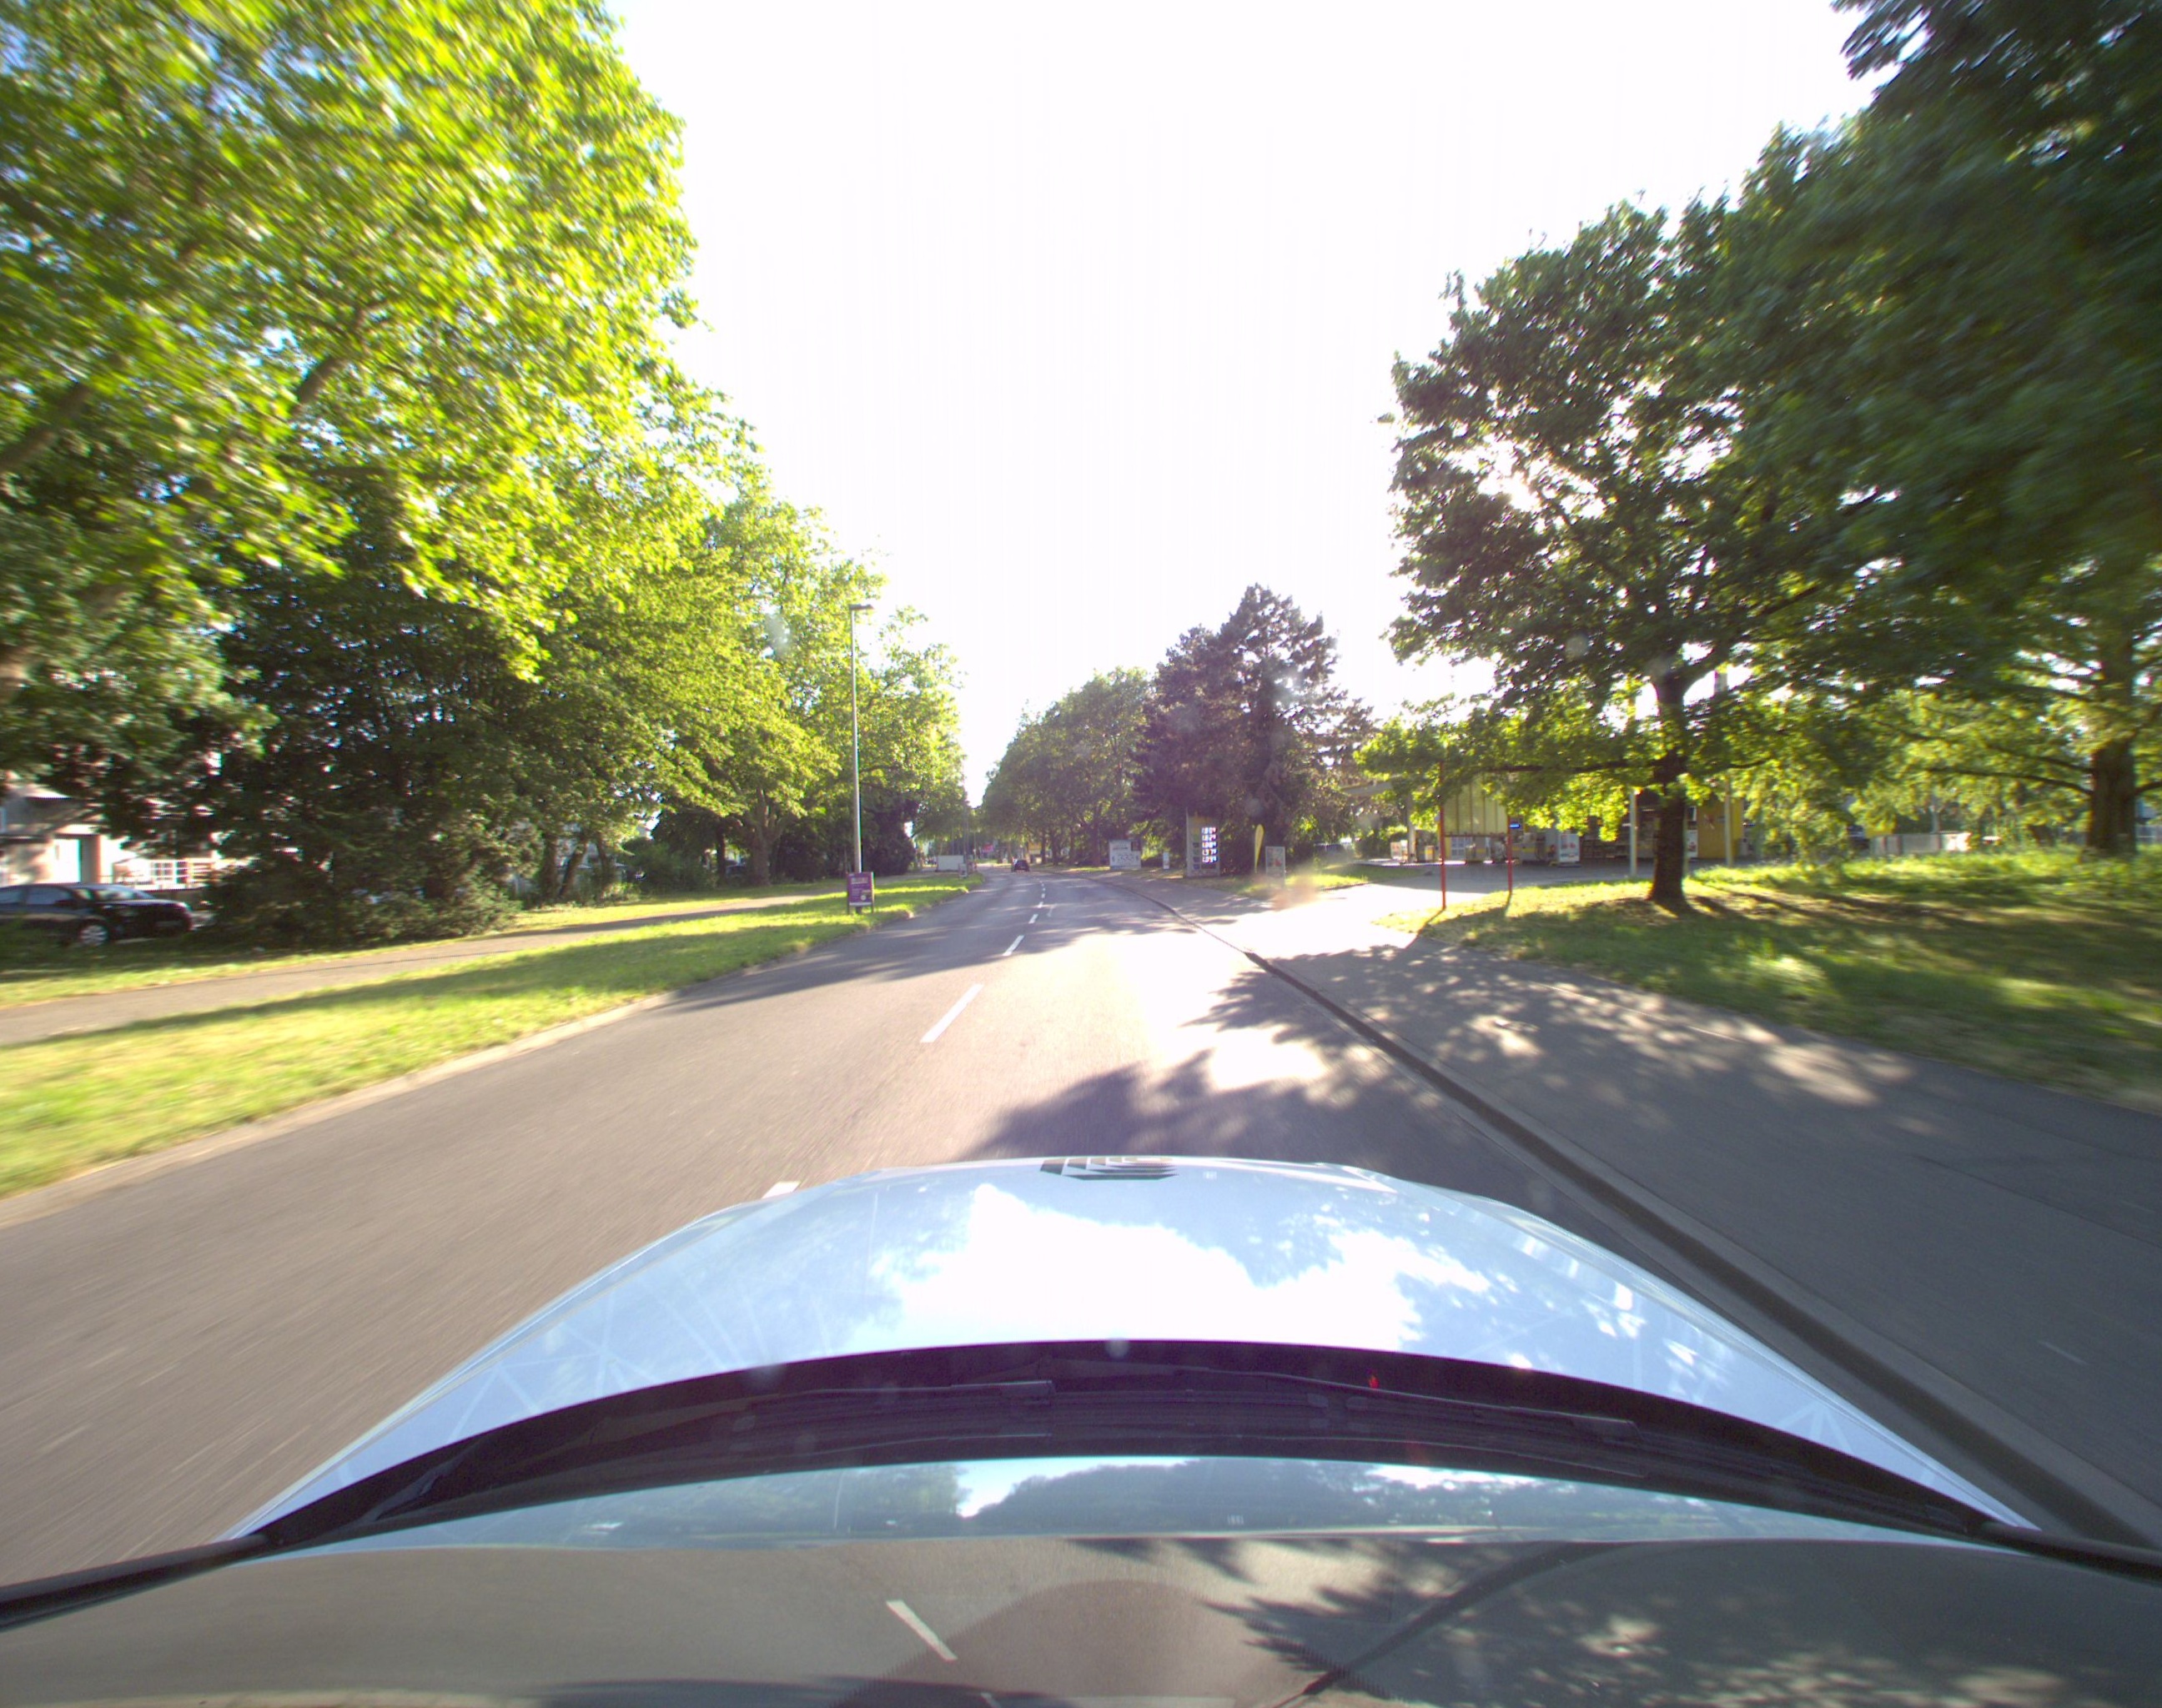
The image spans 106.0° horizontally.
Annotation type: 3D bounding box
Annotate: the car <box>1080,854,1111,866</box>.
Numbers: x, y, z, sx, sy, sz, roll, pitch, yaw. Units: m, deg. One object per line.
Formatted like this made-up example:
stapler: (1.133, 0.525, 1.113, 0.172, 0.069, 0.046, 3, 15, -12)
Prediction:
car: (1.964, 0.844, 109.983, 3.984, 1.443, 1.756, -2, 0, -8)

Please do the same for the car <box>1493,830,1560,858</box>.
car: (29.560, -0.619, 54.160, 1.808, 1.728, 4.393, -2, 0, -3)

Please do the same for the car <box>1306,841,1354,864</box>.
car: (16.158, -0.079, 52.948, 1.836, 1.420, 3.999, -1, 0, -1)

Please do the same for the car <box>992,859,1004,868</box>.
car: (-20.303, 2.295, 199.191, 1.983, 2.013, 4.007, -1, 0, 6)

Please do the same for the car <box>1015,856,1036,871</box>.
car: (-6.393, 1.042, 93.913, 1.831, 1.605, 3.867, -1, 0, 4)

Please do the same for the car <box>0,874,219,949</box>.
car: (-21.952, 1.214, 17.813, 3.979, 1.508, 1.910, 0, 0, -4)
